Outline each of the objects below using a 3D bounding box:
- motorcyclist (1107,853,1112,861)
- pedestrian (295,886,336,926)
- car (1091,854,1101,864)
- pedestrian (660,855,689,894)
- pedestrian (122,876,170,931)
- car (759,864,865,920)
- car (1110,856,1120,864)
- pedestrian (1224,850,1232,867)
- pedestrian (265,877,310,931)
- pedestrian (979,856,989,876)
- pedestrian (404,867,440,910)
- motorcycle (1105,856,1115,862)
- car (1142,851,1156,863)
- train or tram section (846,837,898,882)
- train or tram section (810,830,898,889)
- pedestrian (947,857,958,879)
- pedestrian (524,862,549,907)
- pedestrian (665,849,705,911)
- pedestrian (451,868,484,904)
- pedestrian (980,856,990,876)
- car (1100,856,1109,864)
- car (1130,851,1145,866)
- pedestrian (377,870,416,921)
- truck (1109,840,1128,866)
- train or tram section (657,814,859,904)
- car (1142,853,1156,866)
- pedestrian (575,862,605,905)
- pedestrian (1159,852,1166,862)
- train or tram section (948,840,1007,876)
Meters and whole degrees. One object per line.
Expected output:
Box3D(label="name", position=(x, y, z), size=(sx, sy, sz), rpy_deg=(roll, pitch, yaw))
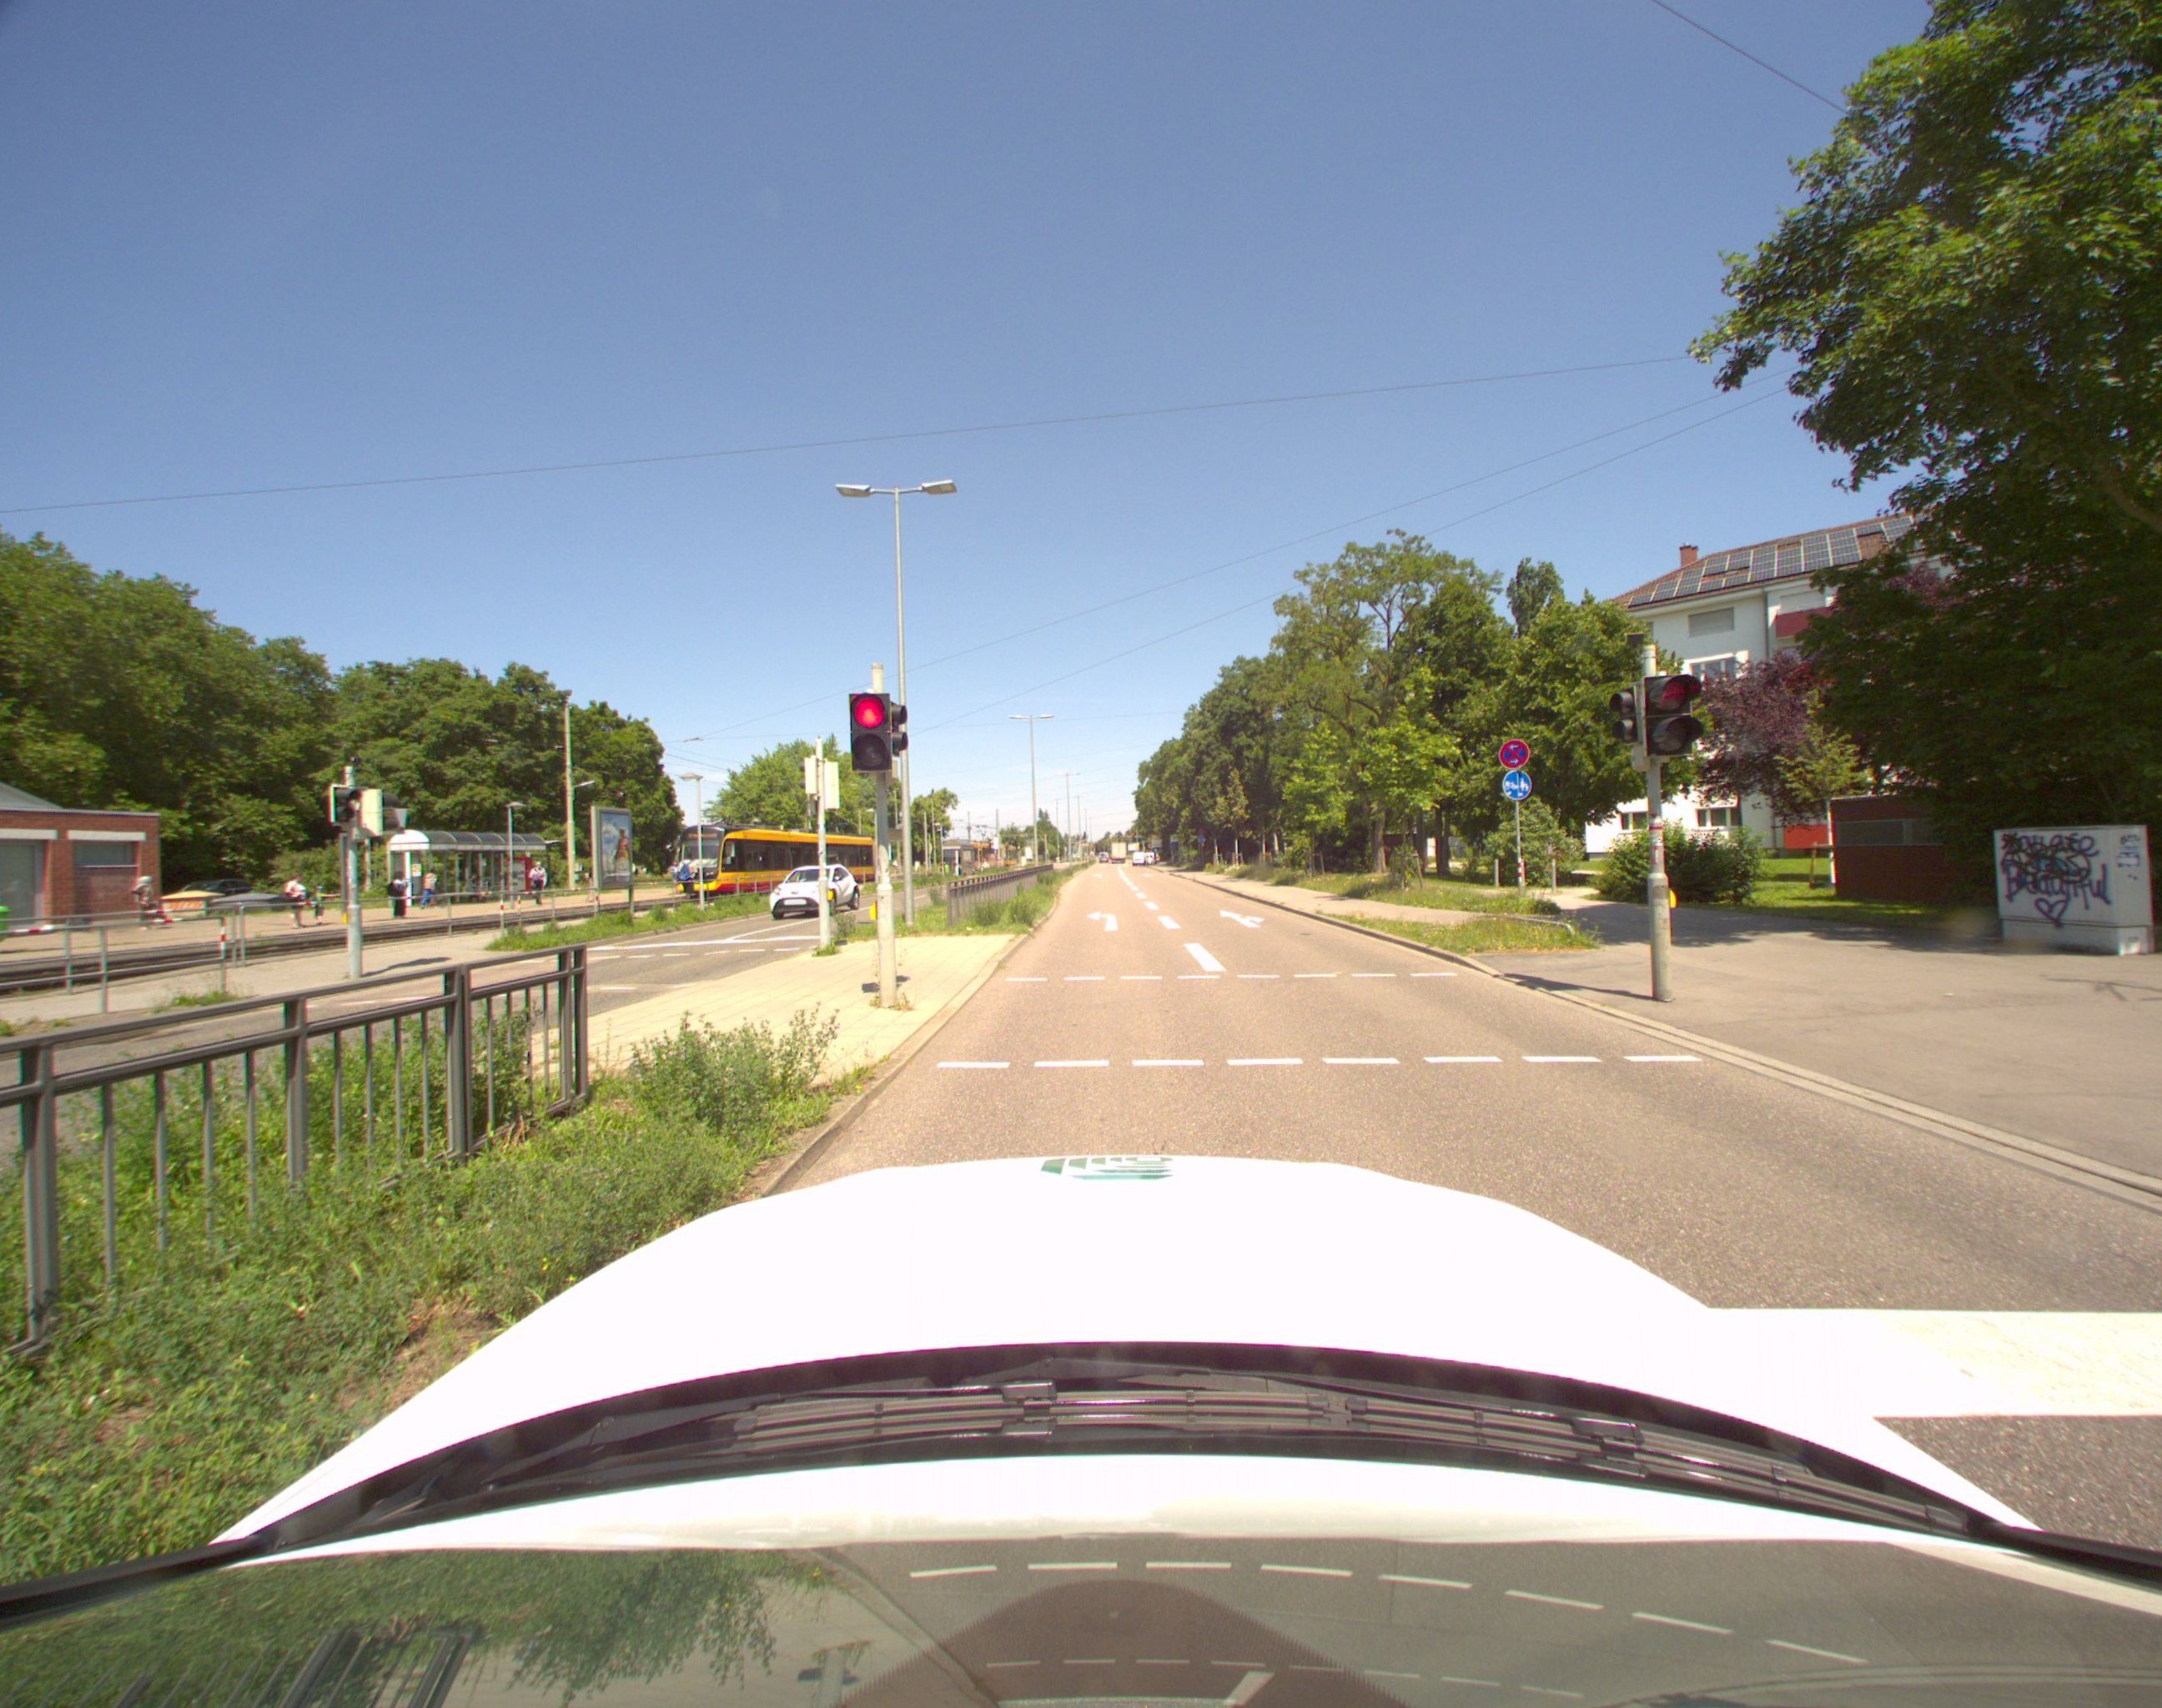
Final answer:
Box3D(label="motorcyclist", position=(7.077, 0.752, 201.478), size=(0.924, 1.835, 0.847), rpy_deg=(-2, 0, -10))
Box3D(label="pedestrian", position=(-22.287, 1.513, 23.716), size=(0.636, 1.124, 0.570), rpy_deg=(-2, 0, 1))
Box3D(label="car", position=(3.307, 1.103, 175.330), size=(1.986, 2.013, 4.002), rpy_deg=(-2, 0, 2))
Box3D(label="pedestrian", position=(-21.532, 1.087, 43.133), size=(0.977, 2.013, 1.021), rpy_deg=(-2, 0, 1))
Box3D(label="pedestrian", position=(-25.908, 1.364, 22.564), size=(0.636, 1.480, 0.570), rpy_deg=(-2, 0, 1))
Box3D(label="car", position=(-8.133, 1.088, 24.975), size=(1.838, 1.494, 3.793), rpy_deg=(-2, 0, 2))
Box3D(label="car", position=(6.470, 1.150, 153.687), size=(1.804, 1.464, 4.002), rpy_deg=(-2, 0, 2))
Box3D(label="pedestrian", position=(12.635, 0.416, 70.131), size=(0.600, 1.438, 0.557), rpy_deg=(-2, 0, 8))
Box3D(label="pedestrian", position=(-22.122, 1.378, 22.716), size=(0.636, 1.456, 0.583), rpy_deg=(-2, 0, 1))
Box3D(label="pedestrian", position=(-10.139, 1.254, 85.363), size=(0.812, 2.013, 0.939), rpy_deg=(-2, 0, 1))
Box3D(label="pedestrian", position=(-25.171, 1.322, 31.116), size=(0.669, 1.590, 0.808), rpy_deg=(-2, 0, 1))
Box3D(label="motorcycle", position=(7.138, 1.171, 201.428), size=(2.183, 1.406, 0.845), rpy_deg=(-2, 0, -10))
Box3D(label="car", position=(9.895, 0.465, 118.761), size=(1.773, 1.668, 4.002), rpy_deg=(-2, 0, 2))
Box3D(label="train or tram section", position=(-21.099, 0.562, 81.247), size=(3.226, 3.931, 18.376), rpy_deg=(-2, 0, -20))
Box3D(label="train or tram section", position=(-17.326, 0.404, 64.012), size=(3.210, 3.931, 18.466), rpy_deg=(-2, 0, -5))
Box3D(label="pedestrian", position=(-10.986, 1.202, 69.726), size=(0.783, 1.868, 0.818), rpy_deg=(-2, 0, 1))
Box3D(label="pedestrian", position=(-22.584, 1.249, 33.764), size=(0.725, 1.800, 0.835), rpy_deg=(-1, -1, -41))
Box3D(label="pedestrian", position=(-11.925, 0.783, 24.565), size=(0.715, 1.777, 0.843), rpy_deg=(3, 2, 1))
Box3D(label="pedestrian", position=(-26.286, 1.371, 34.891), size=(0.836, 1.511, 0.723), rpy_deg=(-2, 0, 12))
Box3D(label="pedestrian", position=(-9.919, 1.242, 84.063), size=(0.812, 2.013, 0.939), rpy_deg=(-2, 0, 1))
Box3D(label="car", position=(4.541, 1.177, 158.004), size=(1.804, 1.464, 4.002), rpy_deg=(-2, 0, 2))
Box3D(label="car", position=(7.286, 0.566, 105.538), size=(1.773, 1.903, 4.002), rpy_deg=(-2, 0, 2))
Box3D(label="pedestrian", position=(-21.535, 1.282, 25.622), size=(0.635, 1.555, 0.691), rpy_deg=(-2, 0, -11))
Box3D(label="truck", position=(6.756, -0.164, 146.136), size=(3.193, 4.359, 6.563), rpy_deg=(-2, 0, 2))
Box3D(label="train or tram section", position=(-17.020, 0.223, 45.759), size=(3.203, 3.931, 18.510), rpy_deg=(-2, 0, 2))
Box3D(label="car", position=(9.374, 0.723, 112.420), size=(1.773, 1.668, 4.002), rpy_deg=(-2, 0, 2))
Box3D(label="pedestrian", position=(-21.218, 1.250, 35.180), size=(0.715, 1.777, 0.843), rpy_deg=(3, 2, 1))
Box3D(label="pedestrian", position=(16.381, 0.652, 163.270), size=(1.180, 2.013, 1.214), rpy_deg=(-2, 0, 1))
Box3D(label="train or tram section", position=(-12.376, 0.410, 101.505), size=(2.947, 3.749, 30.036), rpy_deg=(-2, 0, 1))
